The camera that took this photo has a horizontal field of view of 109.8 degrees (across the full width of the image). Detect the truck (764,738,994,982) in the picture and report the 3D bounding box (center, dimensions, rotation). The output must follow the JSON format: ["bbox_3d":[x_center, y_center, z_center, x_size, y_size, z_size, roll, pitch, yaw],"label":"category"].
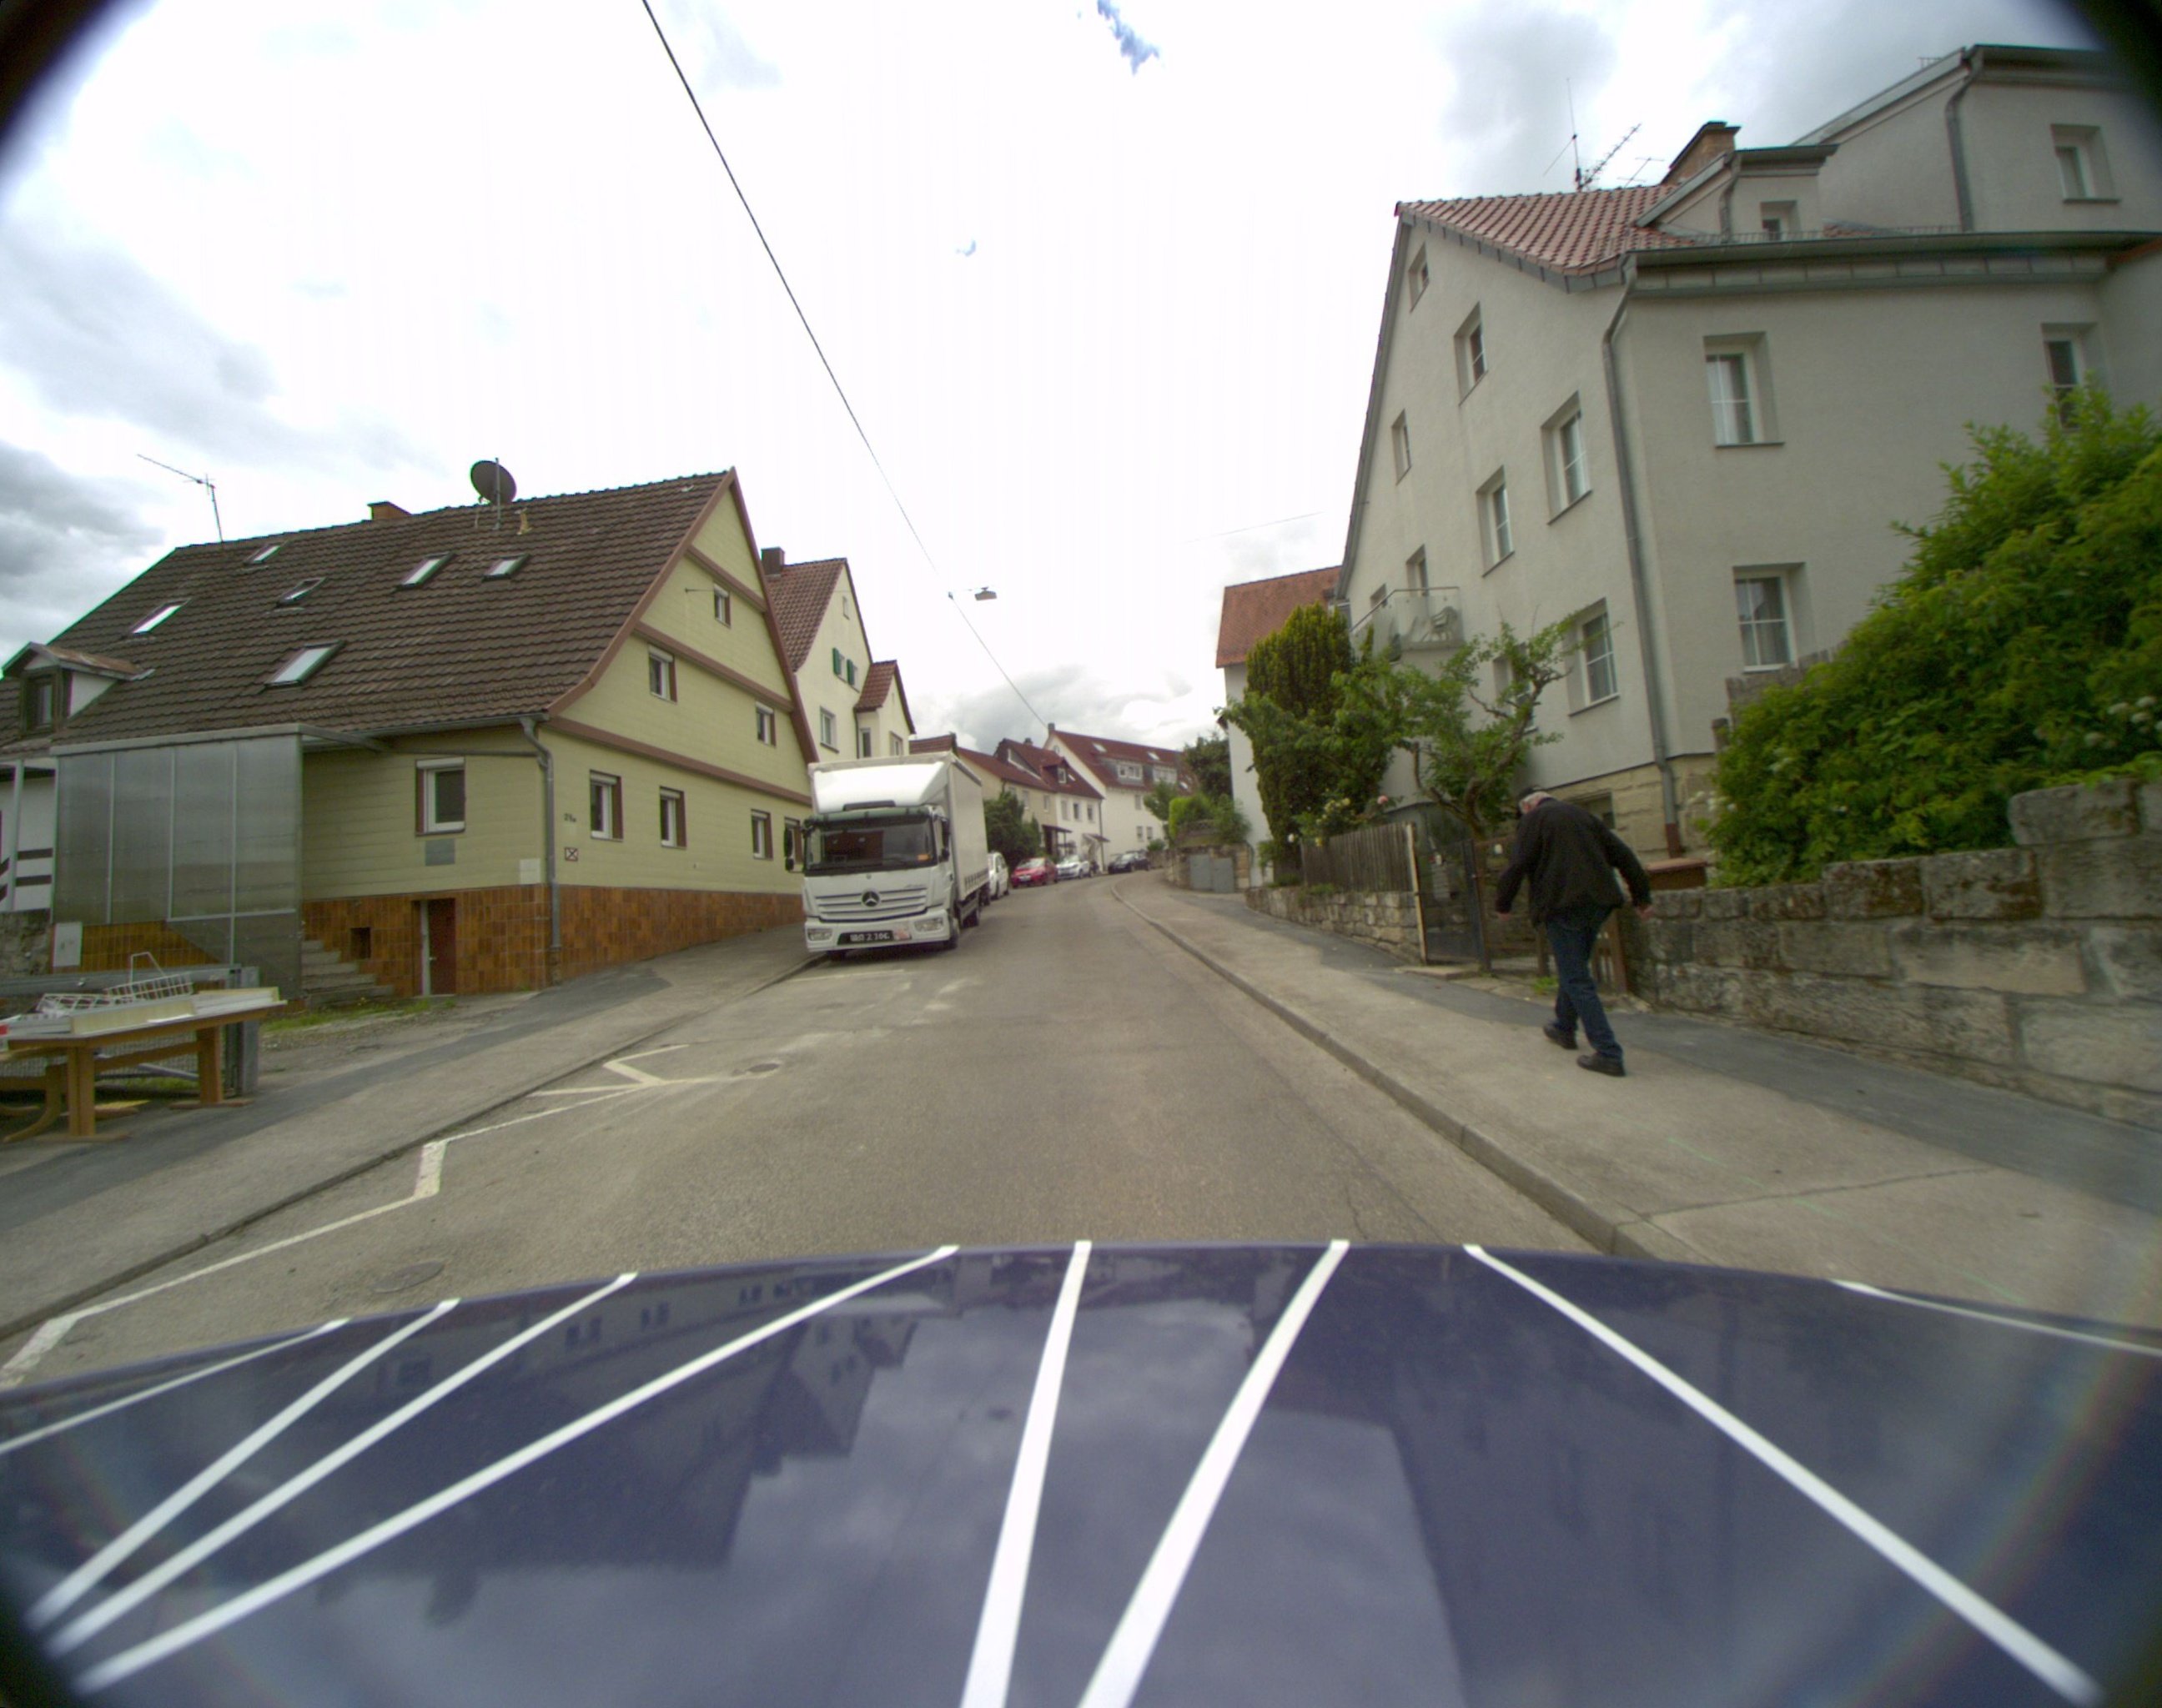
[{"bbox_3d":[-3.575,0.087,15.809,2.683,3.576,8.103,-4,0,-2],"label":"truck"}]

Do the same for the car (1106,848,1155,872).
[{"bbox_3d":[3.528,0.422,53.229,1.720,1.398,4.010,-7,-2,29],"label":"car"}]

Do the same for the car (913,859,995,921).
[{"bbox_3d":[-3.793,1.016,23.346,1.737,1.497,4.050,-6,1,-1],"label":"car"}]

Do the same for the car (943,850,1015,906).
[{"bbox_3d":[-3.821,0.848,29.196,1.839,1.804,4.304,-6,0,3],"label":"car"}]

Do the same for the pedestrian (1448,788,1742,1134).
[{"bbox_3d":[2.842,0.544,4.337,0.842,1.668,0.976,-6,0,-1],"label":"pedestrian"}]

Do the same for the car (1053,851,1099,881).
[{"bbox_3d":[-0.274,0.703,45.785,1.614,1.523,2.901,-8,-1,20],"label":"car"}]

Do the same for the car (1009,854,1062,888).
[{"bbox_3d":[-2.249,0.816,38.825,1.682,1.443,3.854,-6,0,11],"label":"car"}]
